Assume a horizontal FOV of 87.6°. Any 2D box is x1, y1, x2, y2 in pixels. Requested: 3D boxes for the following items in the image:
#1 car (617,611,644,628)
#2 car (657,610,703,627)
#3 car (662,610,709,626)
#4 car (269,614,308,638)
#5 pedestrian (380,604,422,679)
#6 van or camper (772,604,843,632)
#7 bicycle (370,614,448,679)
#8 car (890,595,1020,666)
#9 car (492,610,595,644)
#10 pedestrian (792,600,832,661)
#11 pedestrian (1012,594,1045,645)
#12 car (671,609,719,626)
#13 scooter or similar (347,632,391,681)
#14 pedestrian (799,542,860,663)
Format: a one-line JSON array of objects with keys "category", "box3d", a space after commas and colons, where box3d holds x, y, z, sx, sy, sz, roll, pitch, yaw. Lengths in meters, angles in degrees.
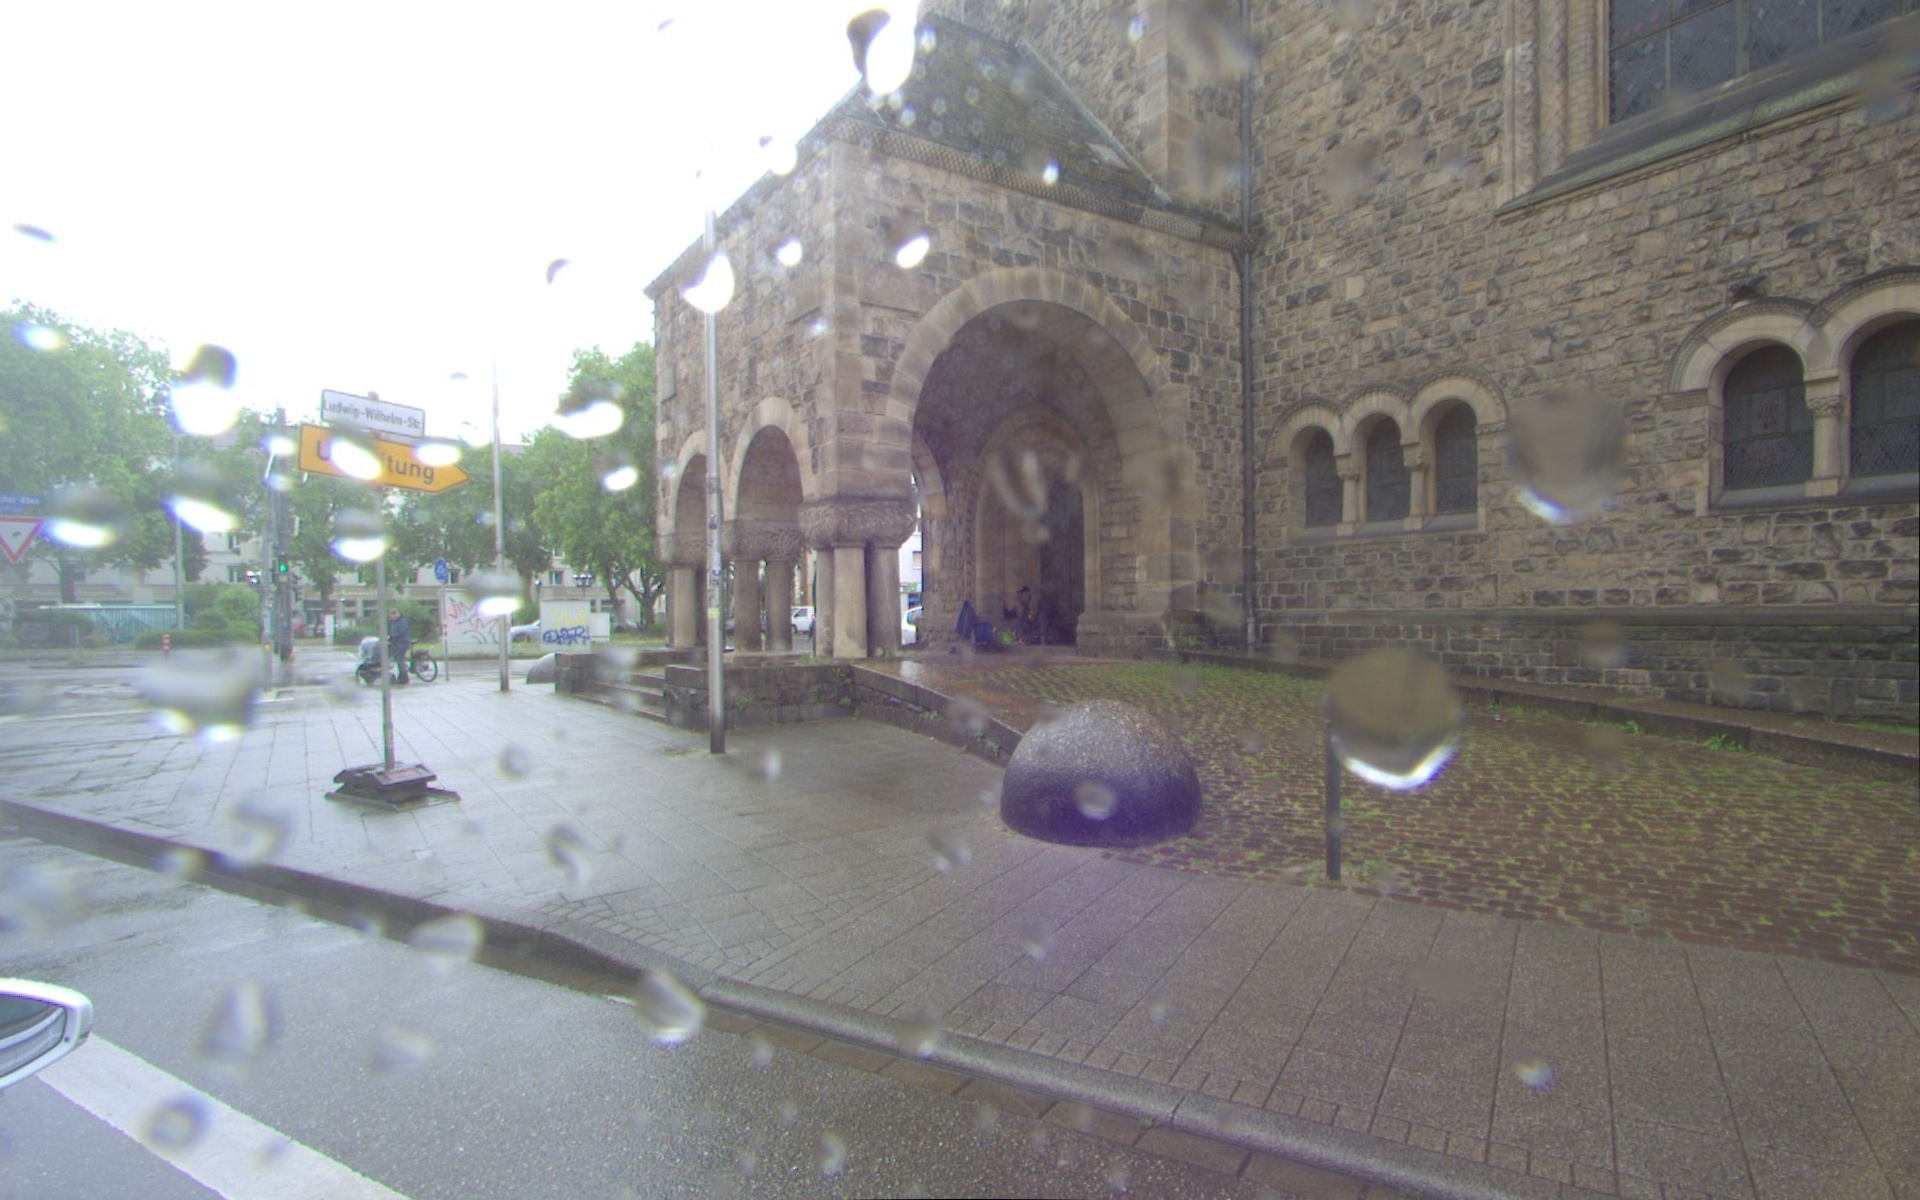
[{"category": "car", "box3d": [-32.535, 1.937, 98.828, 1.693, 1.638, 3.978, 1, -2, -32]}, {"category": "car", "box3d": [-26.730, 1.751, 95.532, 3.945, 1.471, 1.667, -1, 0, -33]}, {"category": "car", "box3d": [-25.660, 1.665, 93.617, 3.945, 1.471, 1.667, -1, 0, -33]}, {"category": "car", "box3d": [-44.865, 1.754, 66.867, 1.651, 1.541, 3.645, -1, -1, -42]}, {"category": "pedestrian", "box3d": [-12.915, 0.947, 23.128, 0.680, 1.685, 0.601, 0, 1, 35]}, {"category": "van or camper", "box3d": [-10.798, 1.237, 70.885, 4.615, 1.940, 1.984, 0, 0, -38]}, {"category": "bicycle", "box3d": [-12.972, 1.083, 23.559, 1.907, 1.486, 0.532, 0, 0, 23]}, {"category": "car", "box3d": [-0.186, 0.791, 24.917, 1.712, 1.593, 3.343, 0, -4, -31]}, {"category": "car", "box3d": [-20.828, 1.311, 50.117, 4.497, 1.621, 1.780, 0, 0, -35]}, {"category": "pedestrian", "box3d": [-2.235, 0.452, 15.120, 0.451, 0.896, 0.393, -1, 0, -38]}, {"category": "pedestrian", "box3d": [1.234, 0.350, 18.131, 0.391, 0.896, 0.453, -1, 0, -35]}, {"category": "car", "box3d": [-24.261, 1.627, 91.577, 3.945, 1.471, 1.667, -1, 0, -33]}, {"category": "scooter or similar", "box3d": [-13.472, 1.278, 22.825, 0.912, 1.062, 0.511, 0, 1, 35]}, {"category": "pedestrian", "box3d": [-1.917, 0.036, 14.696, 0.626, 1.725, 0.673, -1, 1, -38]}]
